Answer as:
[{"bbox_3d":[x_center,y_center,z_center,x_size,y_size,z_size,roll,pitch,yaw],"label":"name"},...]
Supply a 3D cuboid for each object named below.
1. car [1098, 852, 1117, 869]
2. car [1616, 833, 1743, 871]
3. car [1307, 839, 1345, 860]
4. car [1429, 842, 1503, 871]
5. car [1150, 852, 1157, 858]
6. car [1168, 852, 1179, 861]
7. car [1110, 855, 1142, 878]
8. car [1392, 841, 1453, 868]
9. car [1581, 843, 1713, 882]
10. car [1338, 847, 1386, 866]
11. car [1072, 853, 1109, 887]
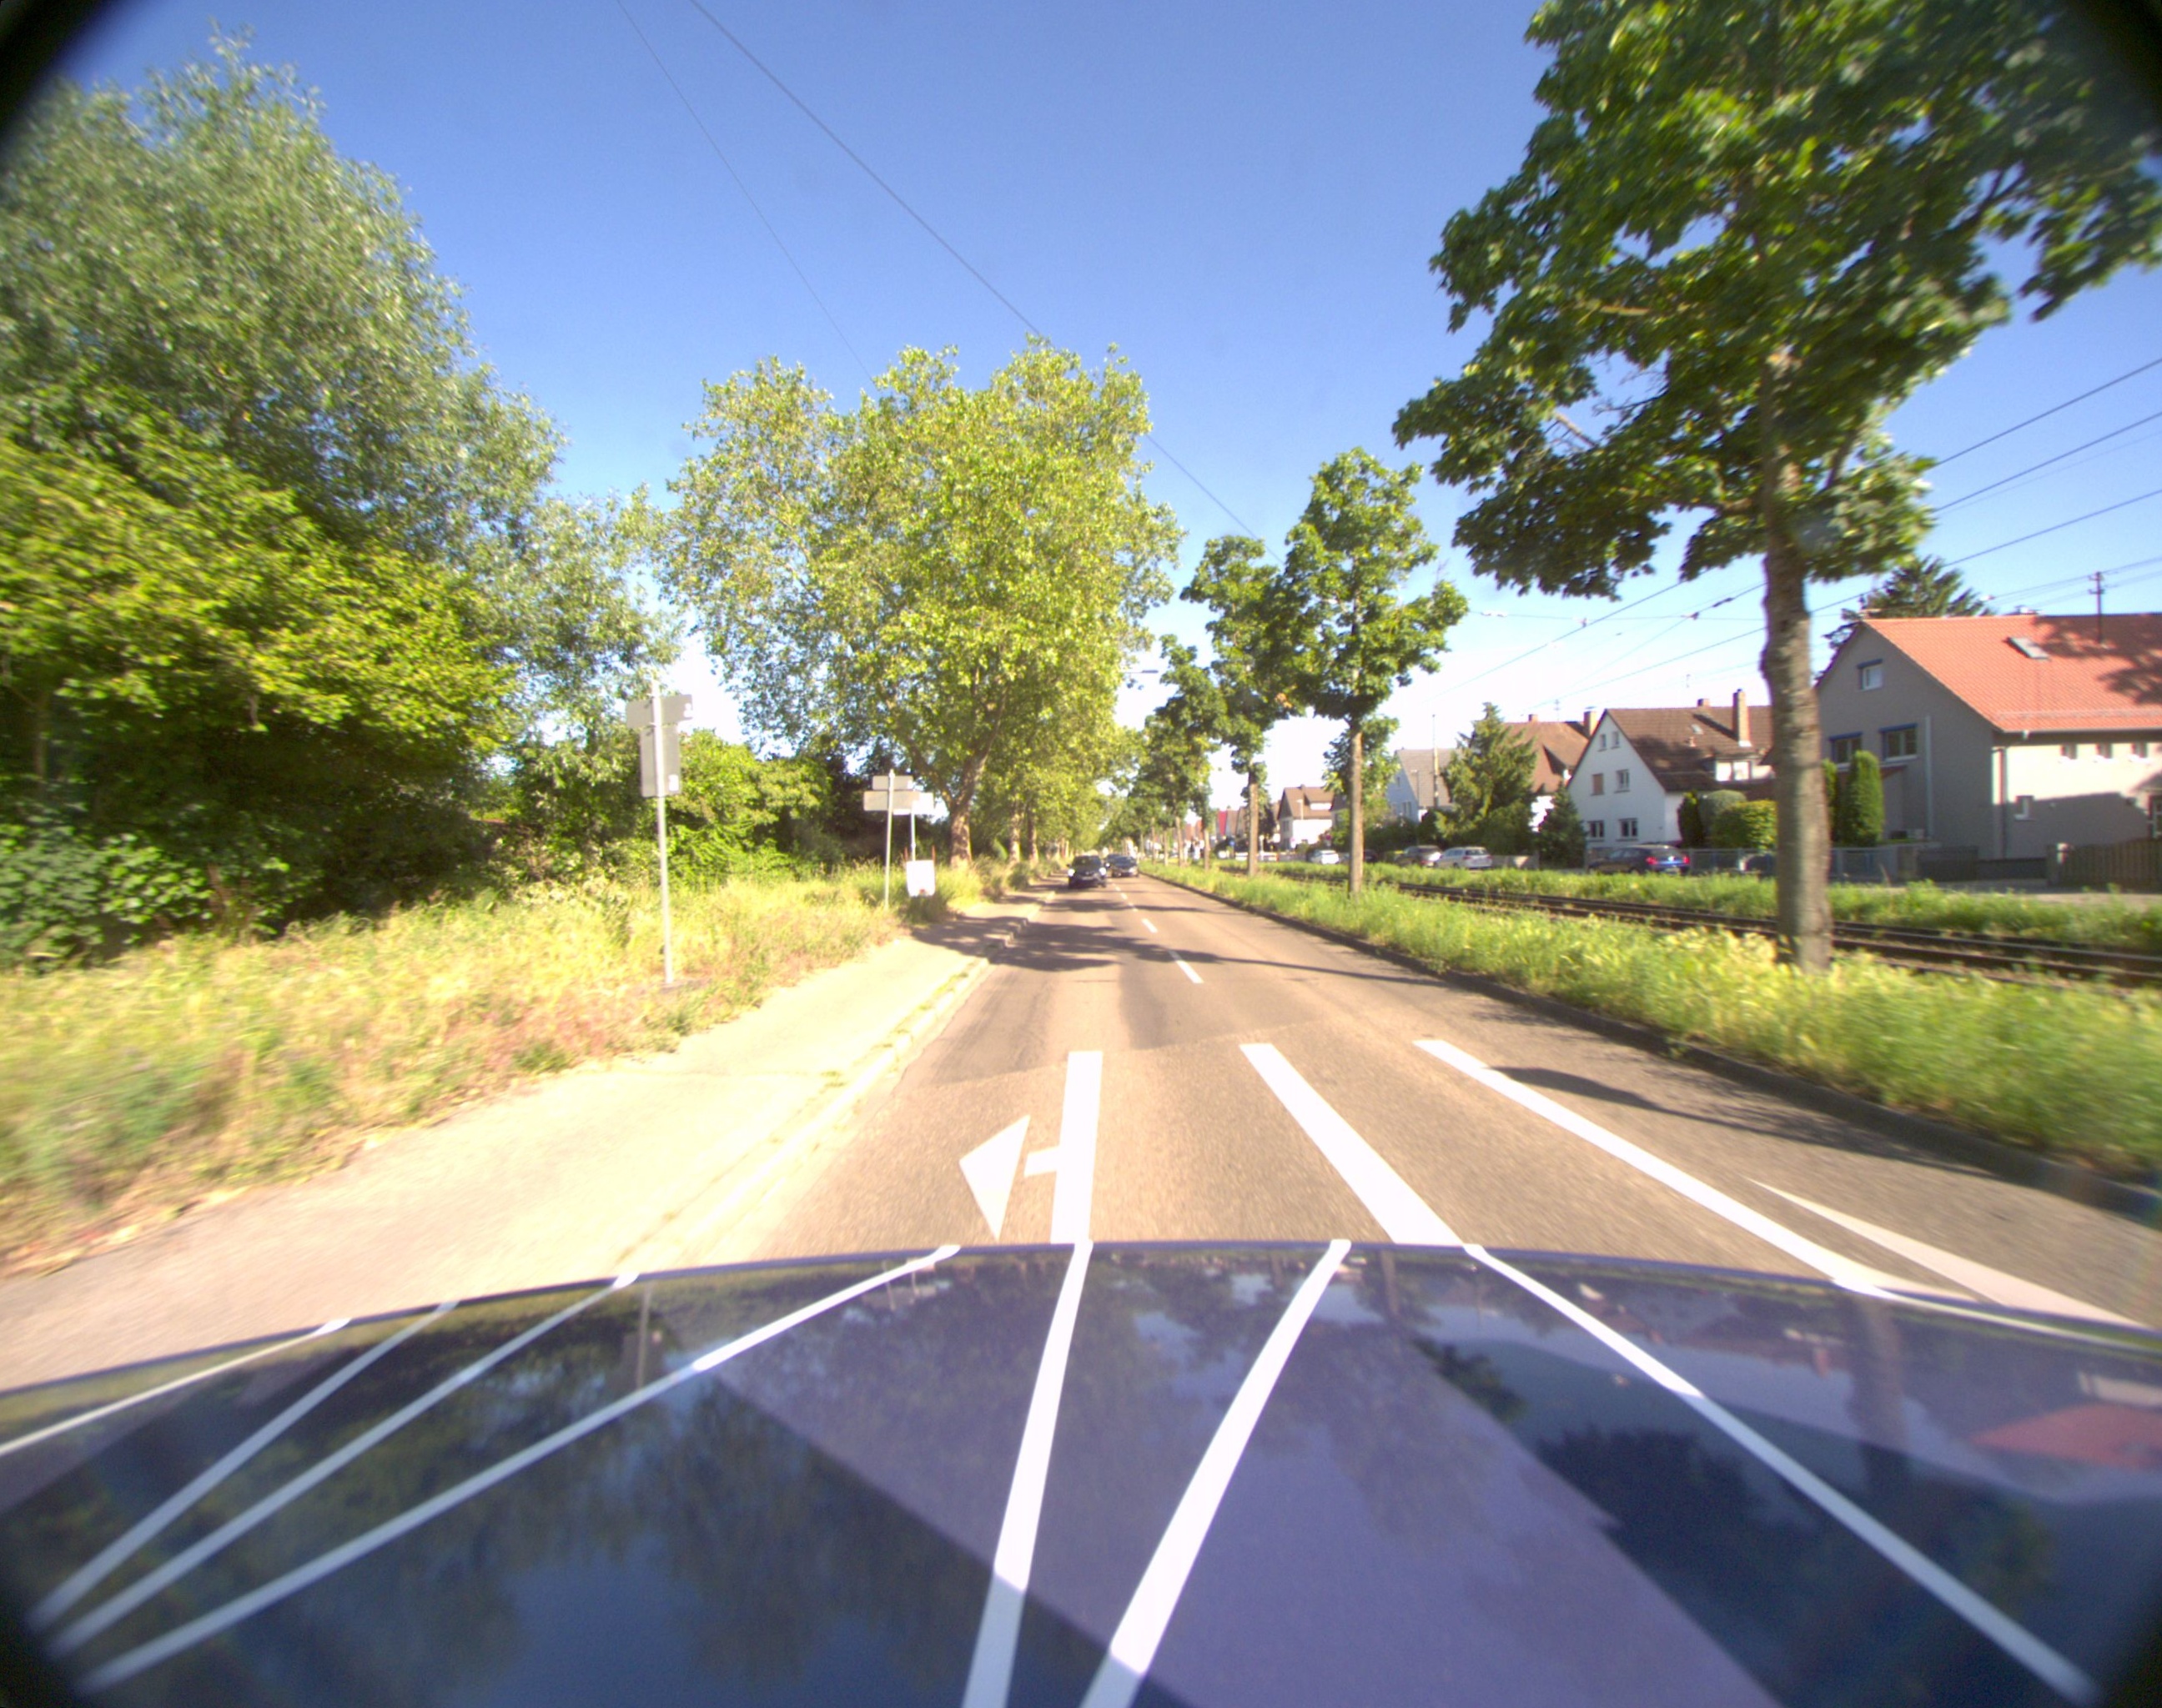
[{"bbox_3d":[2.649,0.603,75.745,1.779,1.620,4.288,-1,0,1],"label":"car"},{"bbox_3d":[27.739,-0.112,35.311,4.488,1.462,1.747,-3,1,-1],"label":"car"},{"bbox_3d":[22.353,-0.414,69.492,1.998,1.852,4.584,-2,0,1],"label":"car"},{"bbox_3d":[22.144,0.131,43.893,1.888,1.464,4.838,-3,0,2],"label":"car"},{"bbox_3d":[20.032,0.226,210.823,1.731,1.581,4.000,-2,0,2],"label":"car"},{"bbox_3d":[18.615,0.547,152.668,1.786,1.674,4.000,-2,0,2],"label":"car"},{"bbox_3d":[3.018,0.837,51.847,1.780,1.441,4.333,-1,0,-2],"label":"car"},{"bbox_3d":[21.924,0.038,48.948,1.888,1.552,4.536,-3,0,1],"label":"car"},{"bbox_3d":[21.813,0.284,29.553,1.998,1.363,4.310,-2,0,2],"label":"car"},{"bbox_3d":[22.325,0.158,60.529,1.998,1.333,4.982,-3,1,1],"label":"car"},{"bbox_3d":[0.453,0.733,36.932,1.673,1.529,3.586,-2,0,0],"label":"car"}]
